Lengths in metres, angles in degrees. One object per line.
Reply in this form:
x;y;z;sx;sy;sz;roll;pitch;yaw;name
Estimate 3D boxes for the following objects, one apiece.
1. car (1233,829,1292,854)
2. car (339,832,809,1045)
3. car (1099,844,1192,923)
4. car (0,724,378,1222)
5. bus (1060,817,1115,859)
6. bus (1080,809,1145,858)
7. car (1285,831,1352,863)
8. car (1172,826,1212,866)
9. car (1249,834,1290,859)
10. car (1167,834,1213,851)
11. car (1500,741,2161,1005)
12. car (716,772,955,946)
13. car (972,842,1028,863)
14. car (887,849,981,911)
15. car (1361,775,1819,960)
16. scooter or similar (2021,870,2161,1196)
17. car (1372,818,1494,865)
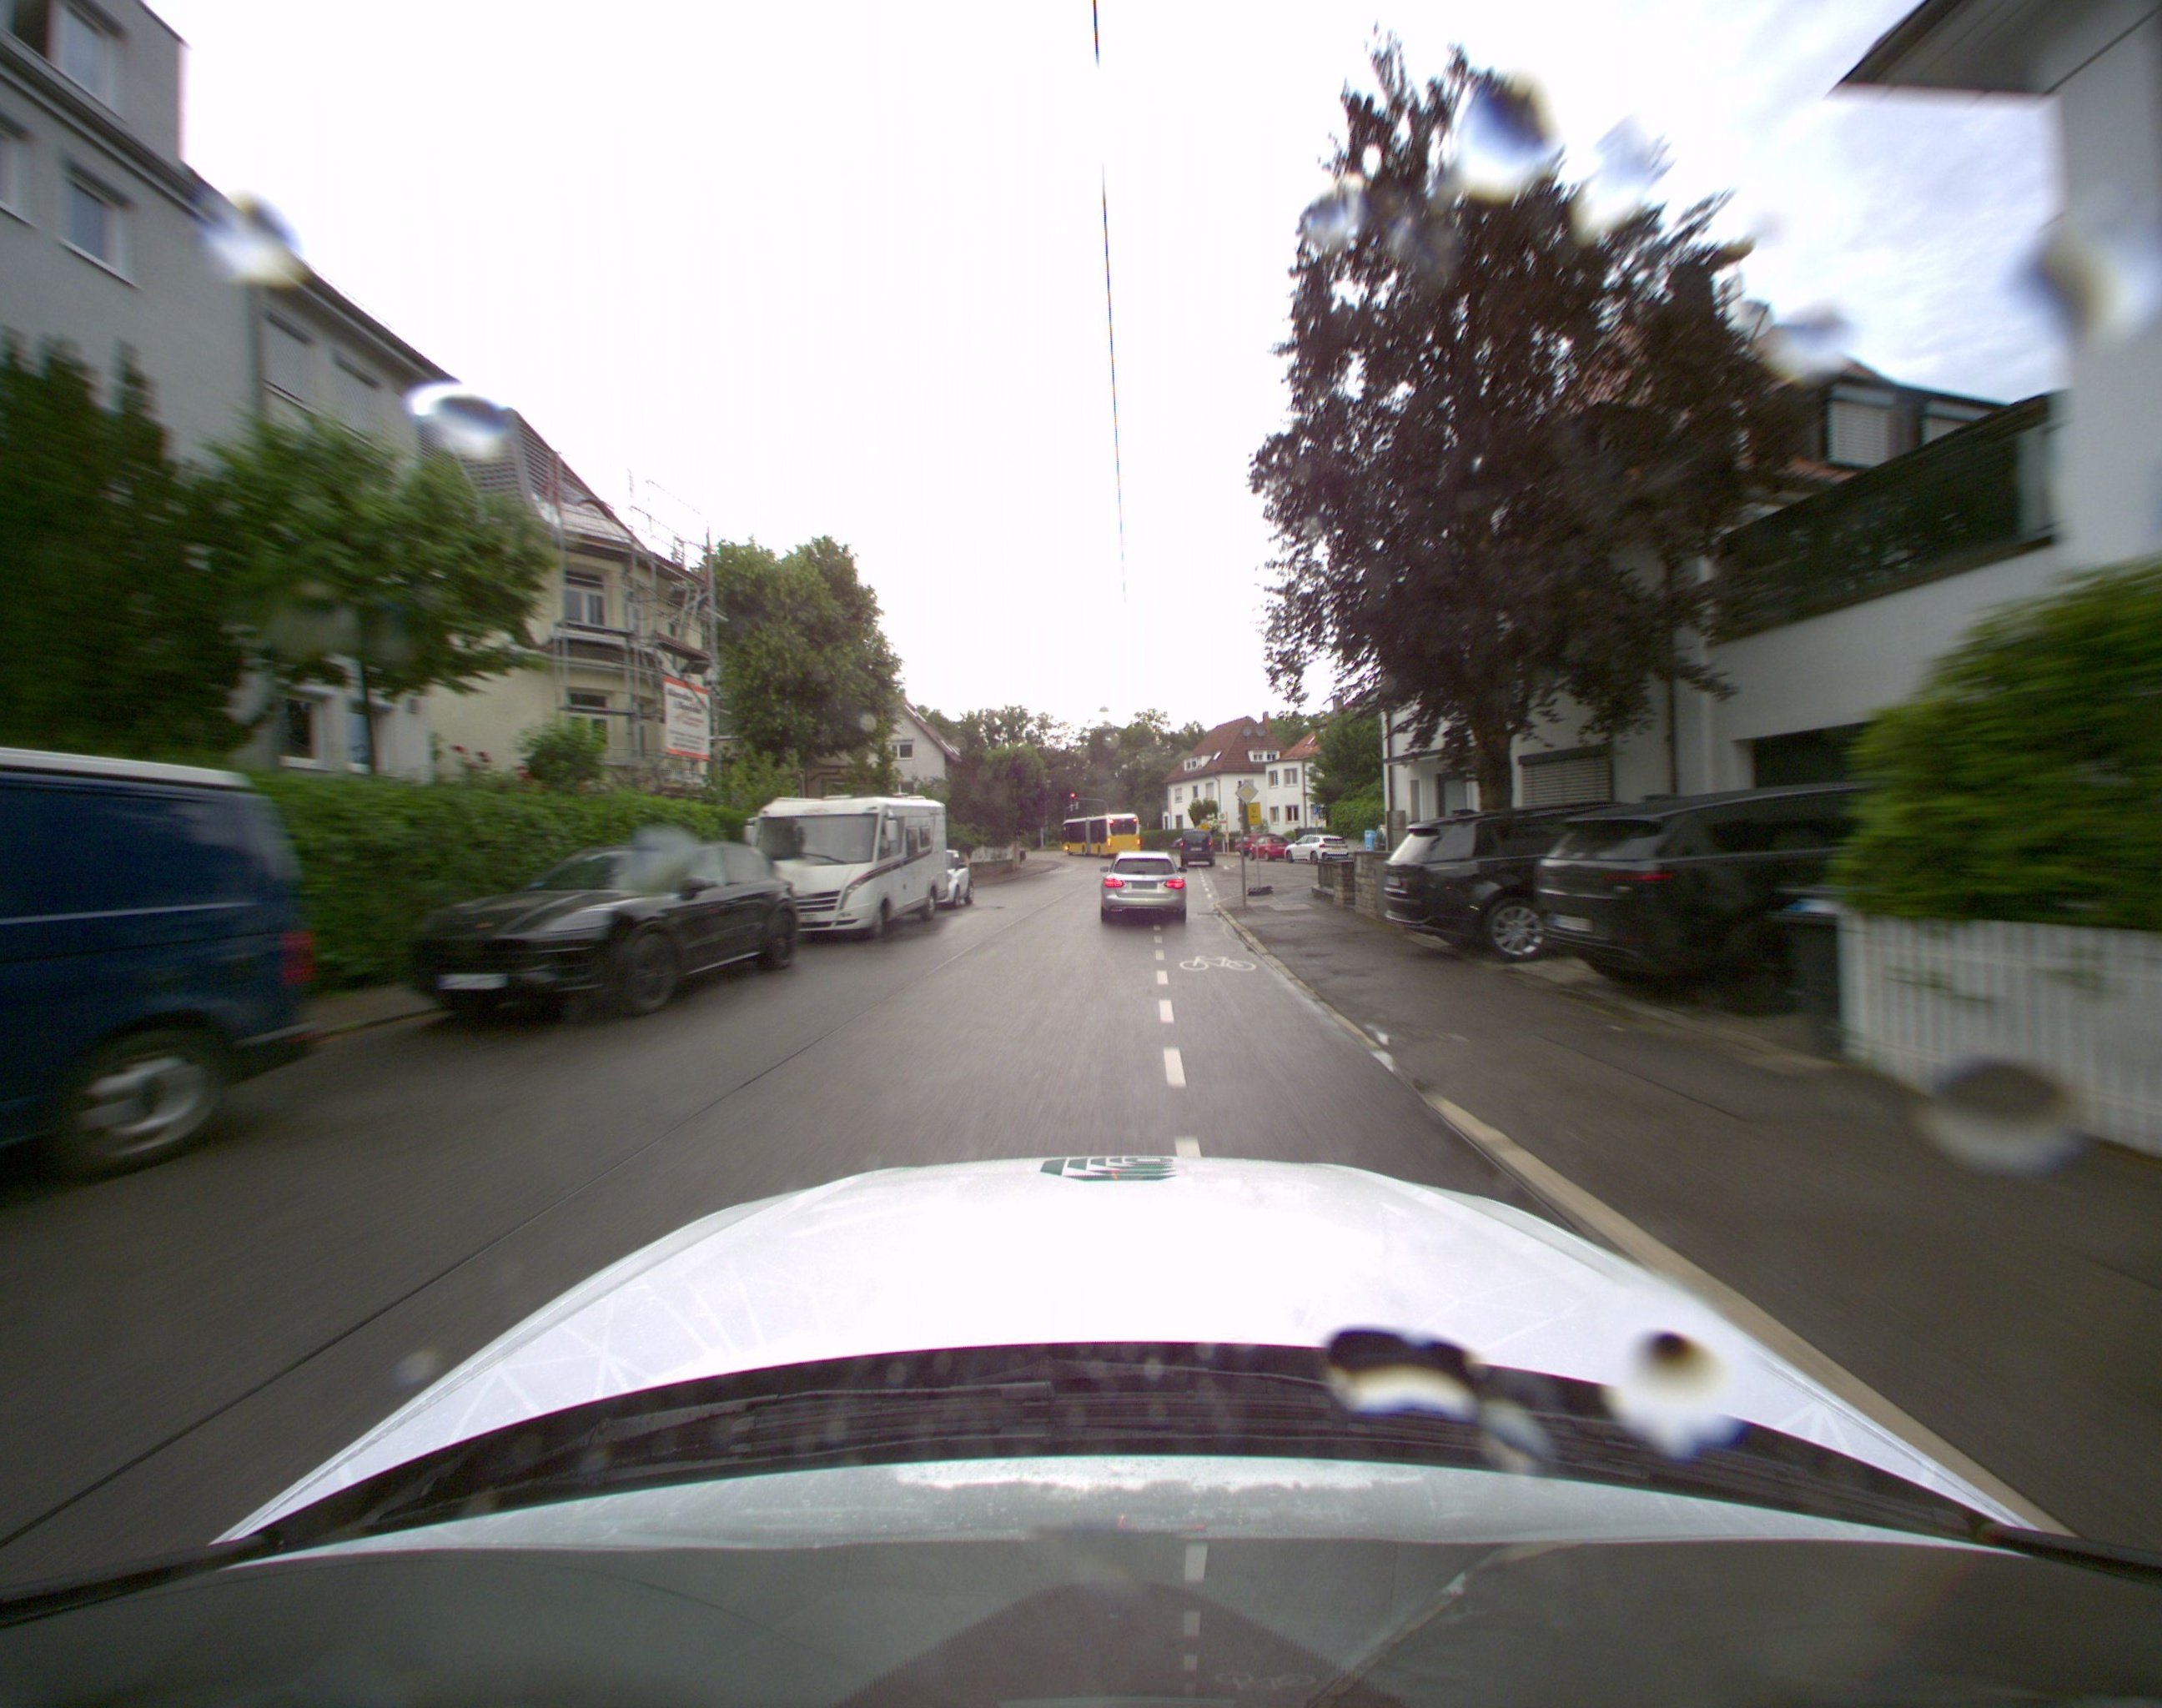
13.590;-0.975;61.039;3.982;1.793;1.756;0;2;-6;car
-4.964;0.632;9.040;1.984;1.688;4.683;0;2;4;car
1.398;0.557;17.946;1.808;1.556;4.004;0;1;4;car
-5.391;0.493;2.632;1.823;2.056;5.010;0;0;1;car
0.413;-1.589;75.588;2.931;3.650;10.260;-1;2;-12;bus
2.358;-1.737;66.529;2.931;3.650;10.128;-1;2;-12;bus
13.122;-0.423;45.240;1.810;1.608;4.045;-1;2;-14;car
5.615;-0.387;41.478;1.834;1.904;4.006;-1;0;5;car
11.627;-0.509;50.399;1.208;1.451;3.008;-1;2;-14;car
10.284;-1.150;77.190;3.993;1.530;1.751;-1;2;-15;car
6.719;0.128;7.475;4.646;1.812;2.000;-4;0;1;car
-4.449;-0.013;16.332;2.380;2.771;6.539;0;2;4;car
-5.892;-0.155;59.166;3.981;1.420;1.884;0;2;-6;car
-3.895;0.647;22.088;1.705;1.447;3.259;0;2;4;car
6.366;0.156;10.634;4.646;1.874;2.000;-4;0;1;car
4.182;0.657;2.521;0.454;1.200;1.868;0;-1;3;scooter or similar
11.898;-0.444;27.731;3.563;1.509;1.737;0;2;13;car
